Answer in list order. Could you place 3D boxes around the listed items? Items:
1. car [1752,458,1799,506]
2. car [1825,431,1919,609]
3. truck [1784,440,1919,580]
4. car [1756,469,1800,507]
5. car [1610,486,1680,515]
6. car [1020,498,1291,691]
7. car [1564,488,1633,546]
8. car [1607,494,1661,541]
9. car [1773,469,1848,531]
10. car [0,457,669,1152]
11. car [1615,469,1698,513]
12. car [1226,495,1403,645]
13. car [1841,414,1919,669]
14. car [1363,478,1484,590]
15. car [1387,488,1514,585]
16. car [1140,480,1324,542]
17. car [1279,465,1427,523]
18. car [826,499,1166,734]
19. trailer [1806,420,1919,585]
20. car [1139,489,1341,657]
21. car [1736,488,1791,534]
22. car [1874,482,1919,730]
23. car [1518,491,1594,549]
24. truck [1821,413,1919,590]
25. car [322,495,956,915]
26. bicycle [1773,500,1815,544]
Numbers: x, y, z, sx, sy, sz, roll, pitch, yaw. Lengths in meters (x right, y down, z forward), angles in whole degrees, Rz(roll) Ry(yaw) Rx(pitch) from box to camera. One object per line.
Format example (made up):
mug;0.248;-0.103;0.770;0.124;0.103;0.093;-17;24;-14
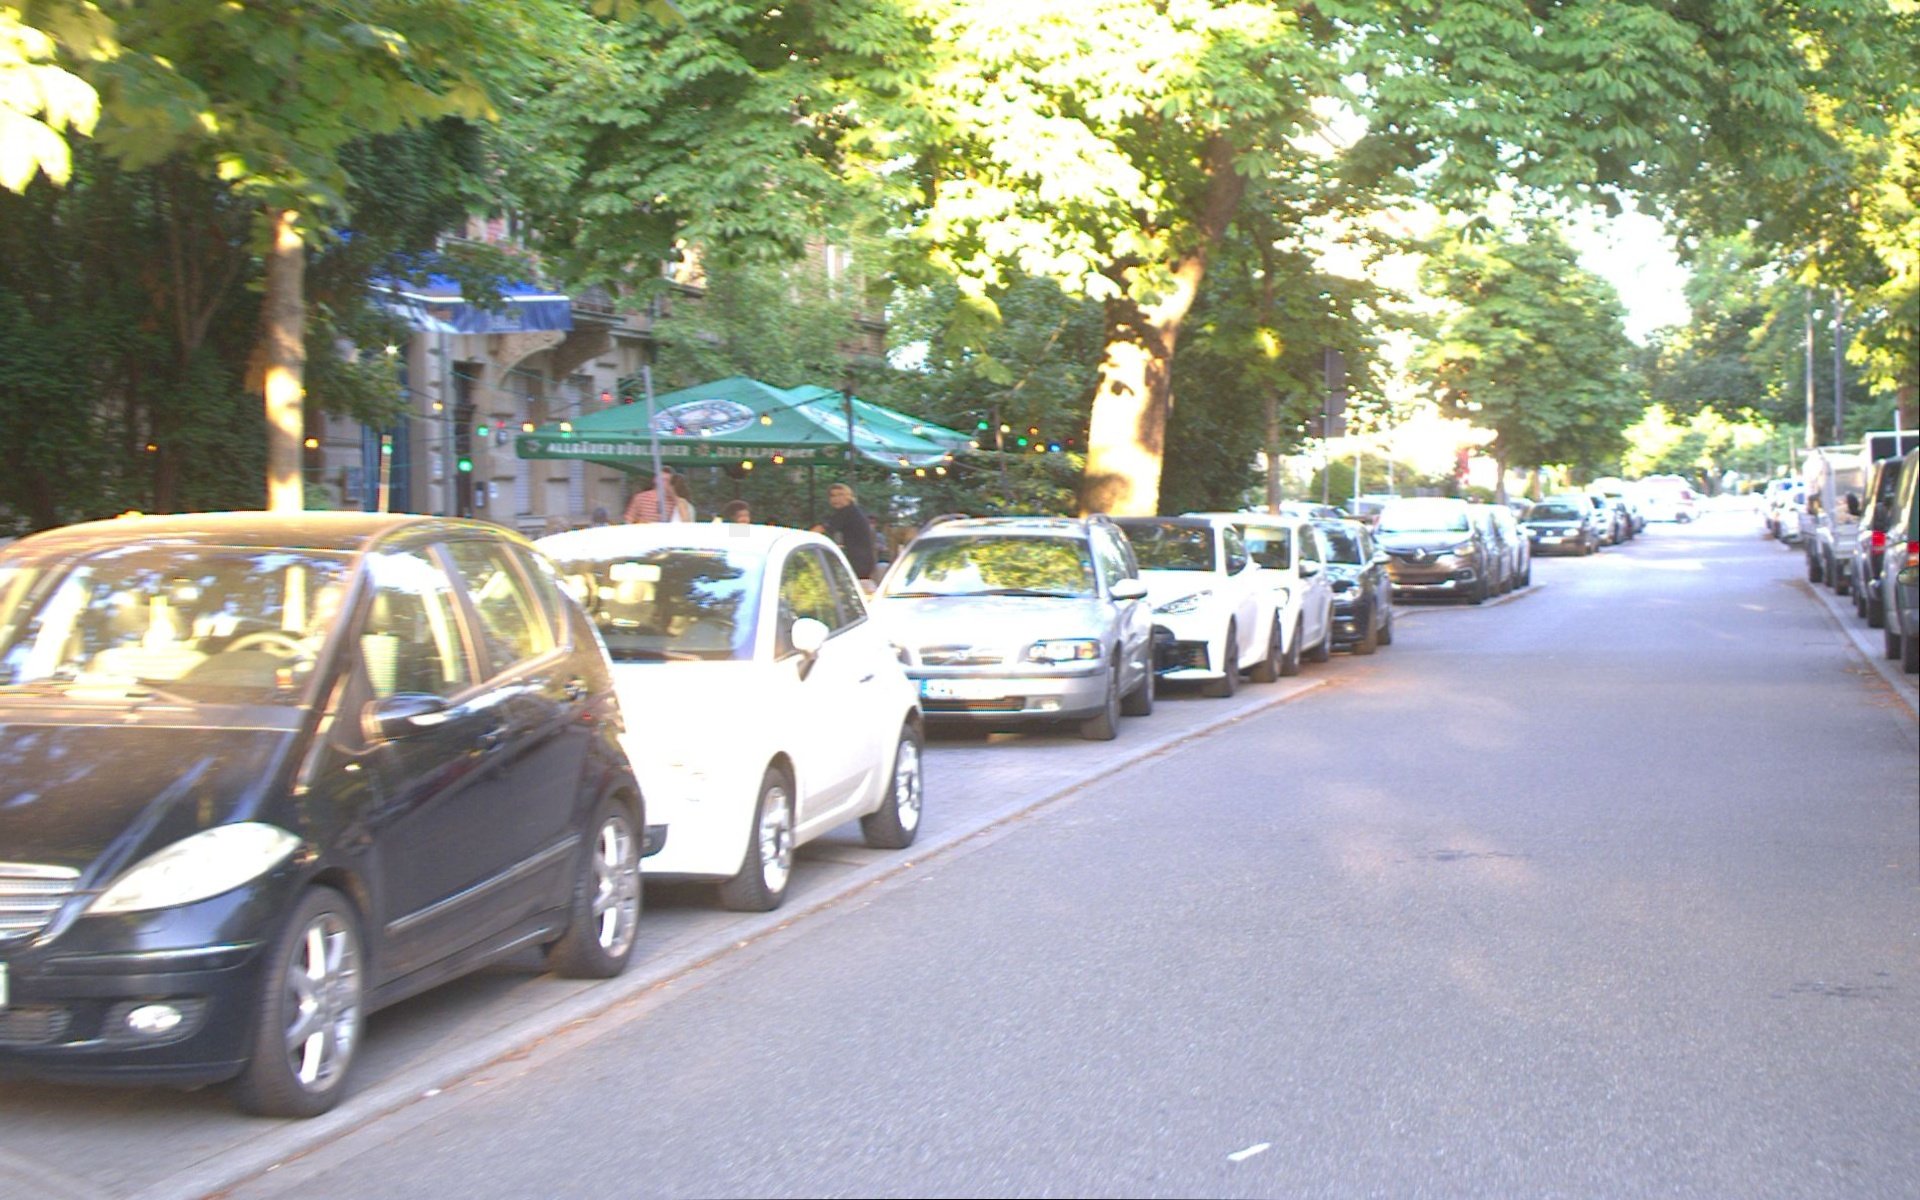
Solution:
car;33.840;-4.884;142.787;1.681;1.934;3.879;0;1;10
car;11.302;-1.017;40.519;1.840;1.936;4.612;-3;2;12
truck;15.348;-1.535;58.943;1.978;2.237;6.774;-1;1;11
car;33.045;-4.519;138.950;1.539;1.516;3.430;0;1;10
car;36.514;-5.304;183.243;3.620;1.456;1.606;0;2;9
car;1.713;-0.103;28.926;1.604;1.430;3.883;2;3;13
car;19.879;-2.592;106.895;1.922;1.711;4.425;0;2;13
car;23.490;-2.881;119.782;1.717;1.561;3.786;0;2;13
car;24.856;-2.915;100.612;1.799;1.705;4.599;-1;1;10
car;-2.224;0.421;10.466;1.665;1.671;3.845;2;3;11
car;37.621;-5.911;185.796;4.352;2.310;1.745;0;2;12
car;3.906;-0.364;37.455;1.552;1.480;3.692;-1;2;11
car;8.997;-0.621;30.069;1.955;2.051;4.829;-3;2;9
car;7.054;-1.042;52.039;1.690;1.558;4.401;2;3;9
car;8.077;-1.047;56.373;1.690;1.497;4.400;-1;1;13
car;6.565;-2.150;82.960;4.097;1.442;1.707;0;3;22
car;11.407;-3.077;99.741;4.095;1.522;1.708;3;2;12
car;0.354;0.032;23.787;1.840;1.406;4.600;0;2;7
trailer;13.933;-1.503;51.997;1.955;2.288;4.642;-3;1;12
car;2.781;-0.307;33.579;1.552;1.480;3.692;2;3;11
car;28.847;-3.191;123.479;1.687;1.600;3.938;0;1;10
car;6.706;-0.001;21.158;1.665;1.494;3.693;-3;2;10
car;15.776;-2.141;90.880;1.617;1.465;3.959;0;2;15
truck;12.960;-1.400;46.662;1.955;2.238;4.643;-3;2;9
car;-1.228;0.330;14.750;1.665;1.488;3.709;2;3;12
bicycle;22.237;-2.078;91.634;0.444;1.169;1.633;0;2;38
